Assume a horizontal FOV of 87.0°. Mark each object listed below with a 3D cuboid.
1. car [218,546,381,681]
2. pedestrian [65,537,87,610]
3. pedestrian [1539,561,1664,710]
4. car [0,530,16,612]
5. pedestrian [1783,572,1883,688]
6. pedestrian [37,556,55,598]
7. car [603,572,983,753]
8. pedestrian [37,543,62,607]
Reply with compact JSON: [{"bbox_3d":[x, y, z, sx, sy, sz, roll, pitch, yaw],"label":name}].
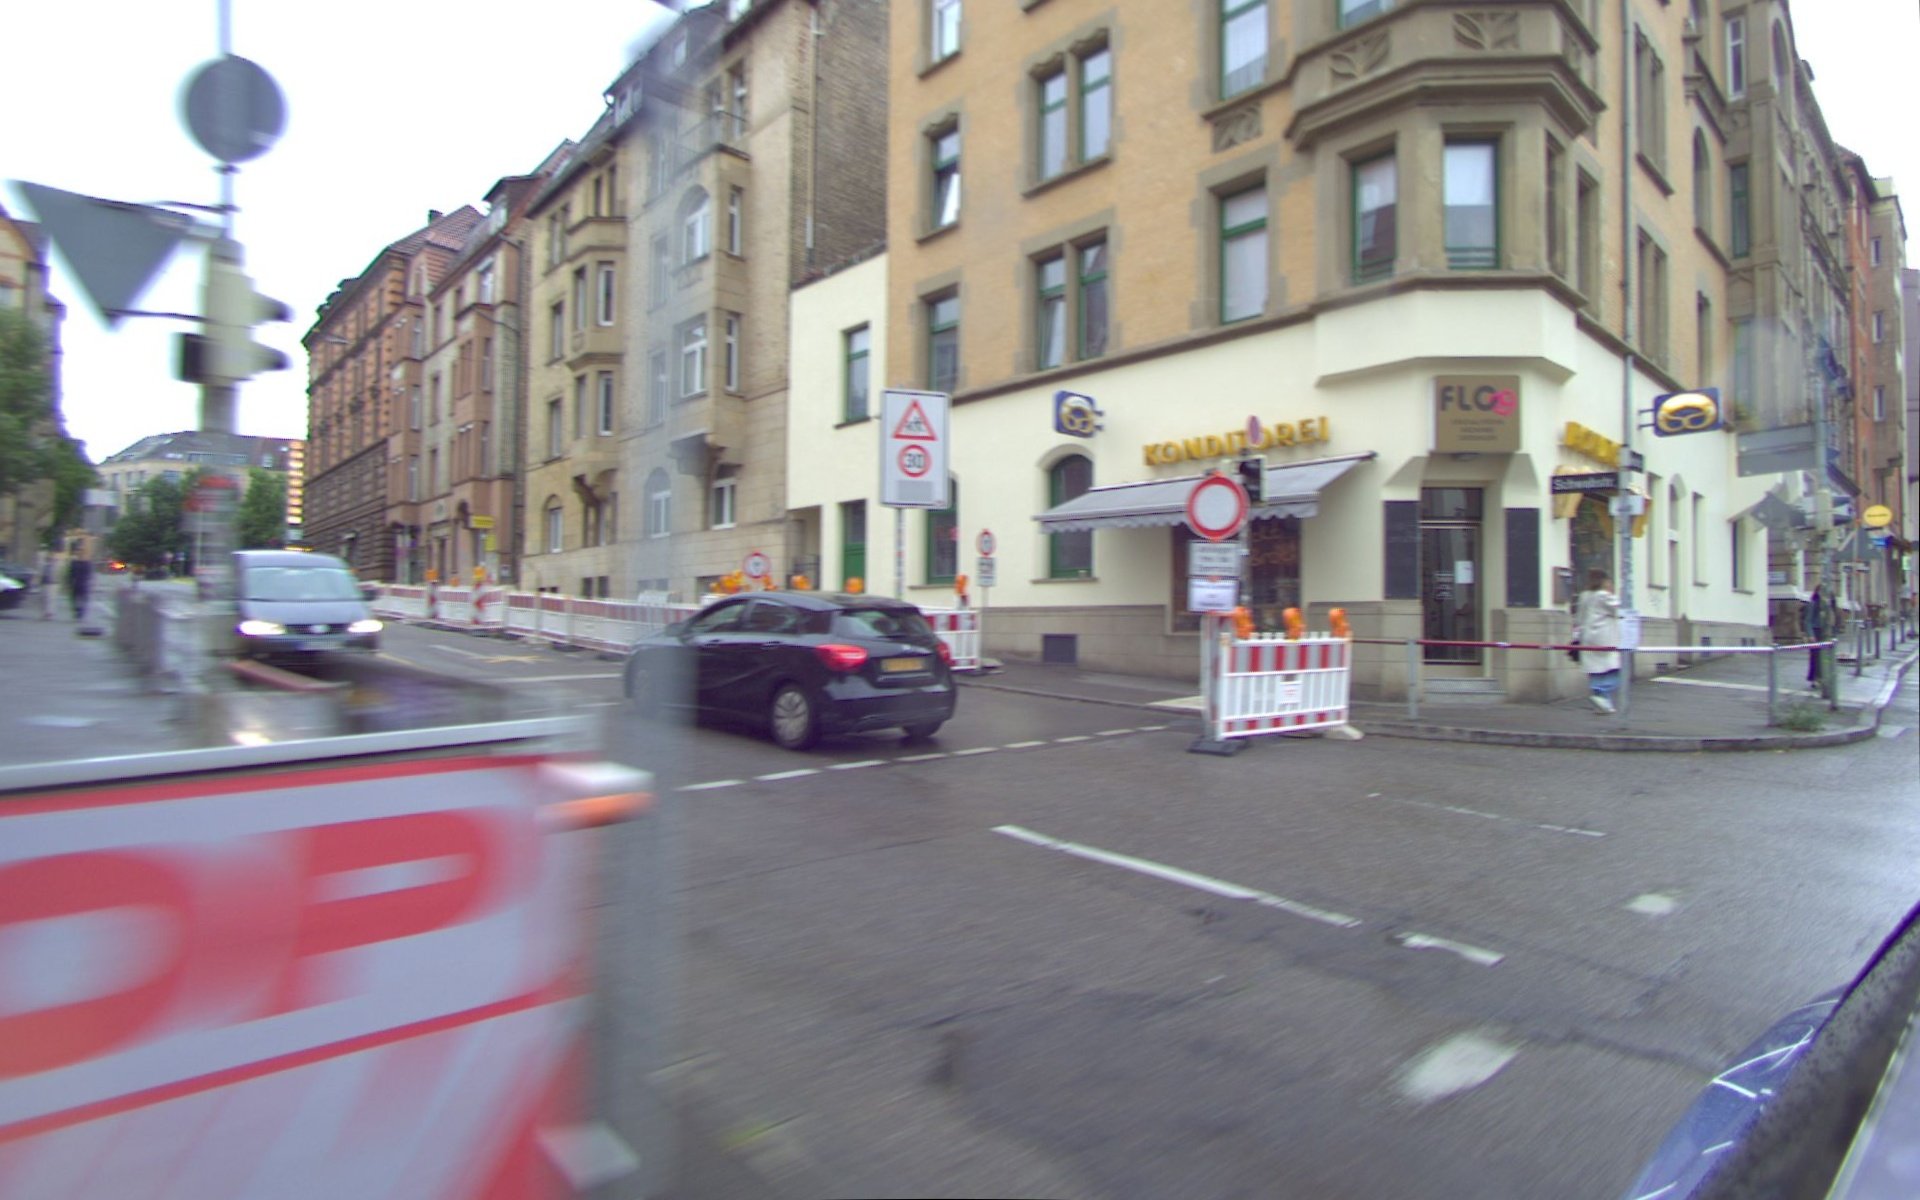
[{"bbox_3d":[-10.161,0.092,15.438,1.703,1.717,3.998,0,4,-39],"label":"car"},{"bbox_3d":[-23.521,-0.691,26.928,0.427,1.922,0.536,-1,0,-43],"label":"pedestrian"},{"bbox_3d":[7.824,0.411,12.375,0.765,1.726,0.999,-1,0,-18],"label":"pedestrian"},{"bbox_3d":[-26.013,-0.721,24.944,1.994,2.039,3.951,1,1,45],"label":"car"},{"bbox_3d":[13.916,0.444,16.136,0.914,1.741,1.019,-1,4,-41],"label":"pedestrian"},{"bbox_3d":[-37.793,-0.957,41.833,0.546,1.690,0.522,1,1,44],"label":"pedestrian"},{"bbox_3d":[-1.853,0.467,10.440,3.986,1.391,1.773,4,3,42],"label":"car"},{"bbox_3d":[-23.881,-0.652,26.547,0.484,1.640,0.524,-1,0,-43],"label":"pedestrian"}]
